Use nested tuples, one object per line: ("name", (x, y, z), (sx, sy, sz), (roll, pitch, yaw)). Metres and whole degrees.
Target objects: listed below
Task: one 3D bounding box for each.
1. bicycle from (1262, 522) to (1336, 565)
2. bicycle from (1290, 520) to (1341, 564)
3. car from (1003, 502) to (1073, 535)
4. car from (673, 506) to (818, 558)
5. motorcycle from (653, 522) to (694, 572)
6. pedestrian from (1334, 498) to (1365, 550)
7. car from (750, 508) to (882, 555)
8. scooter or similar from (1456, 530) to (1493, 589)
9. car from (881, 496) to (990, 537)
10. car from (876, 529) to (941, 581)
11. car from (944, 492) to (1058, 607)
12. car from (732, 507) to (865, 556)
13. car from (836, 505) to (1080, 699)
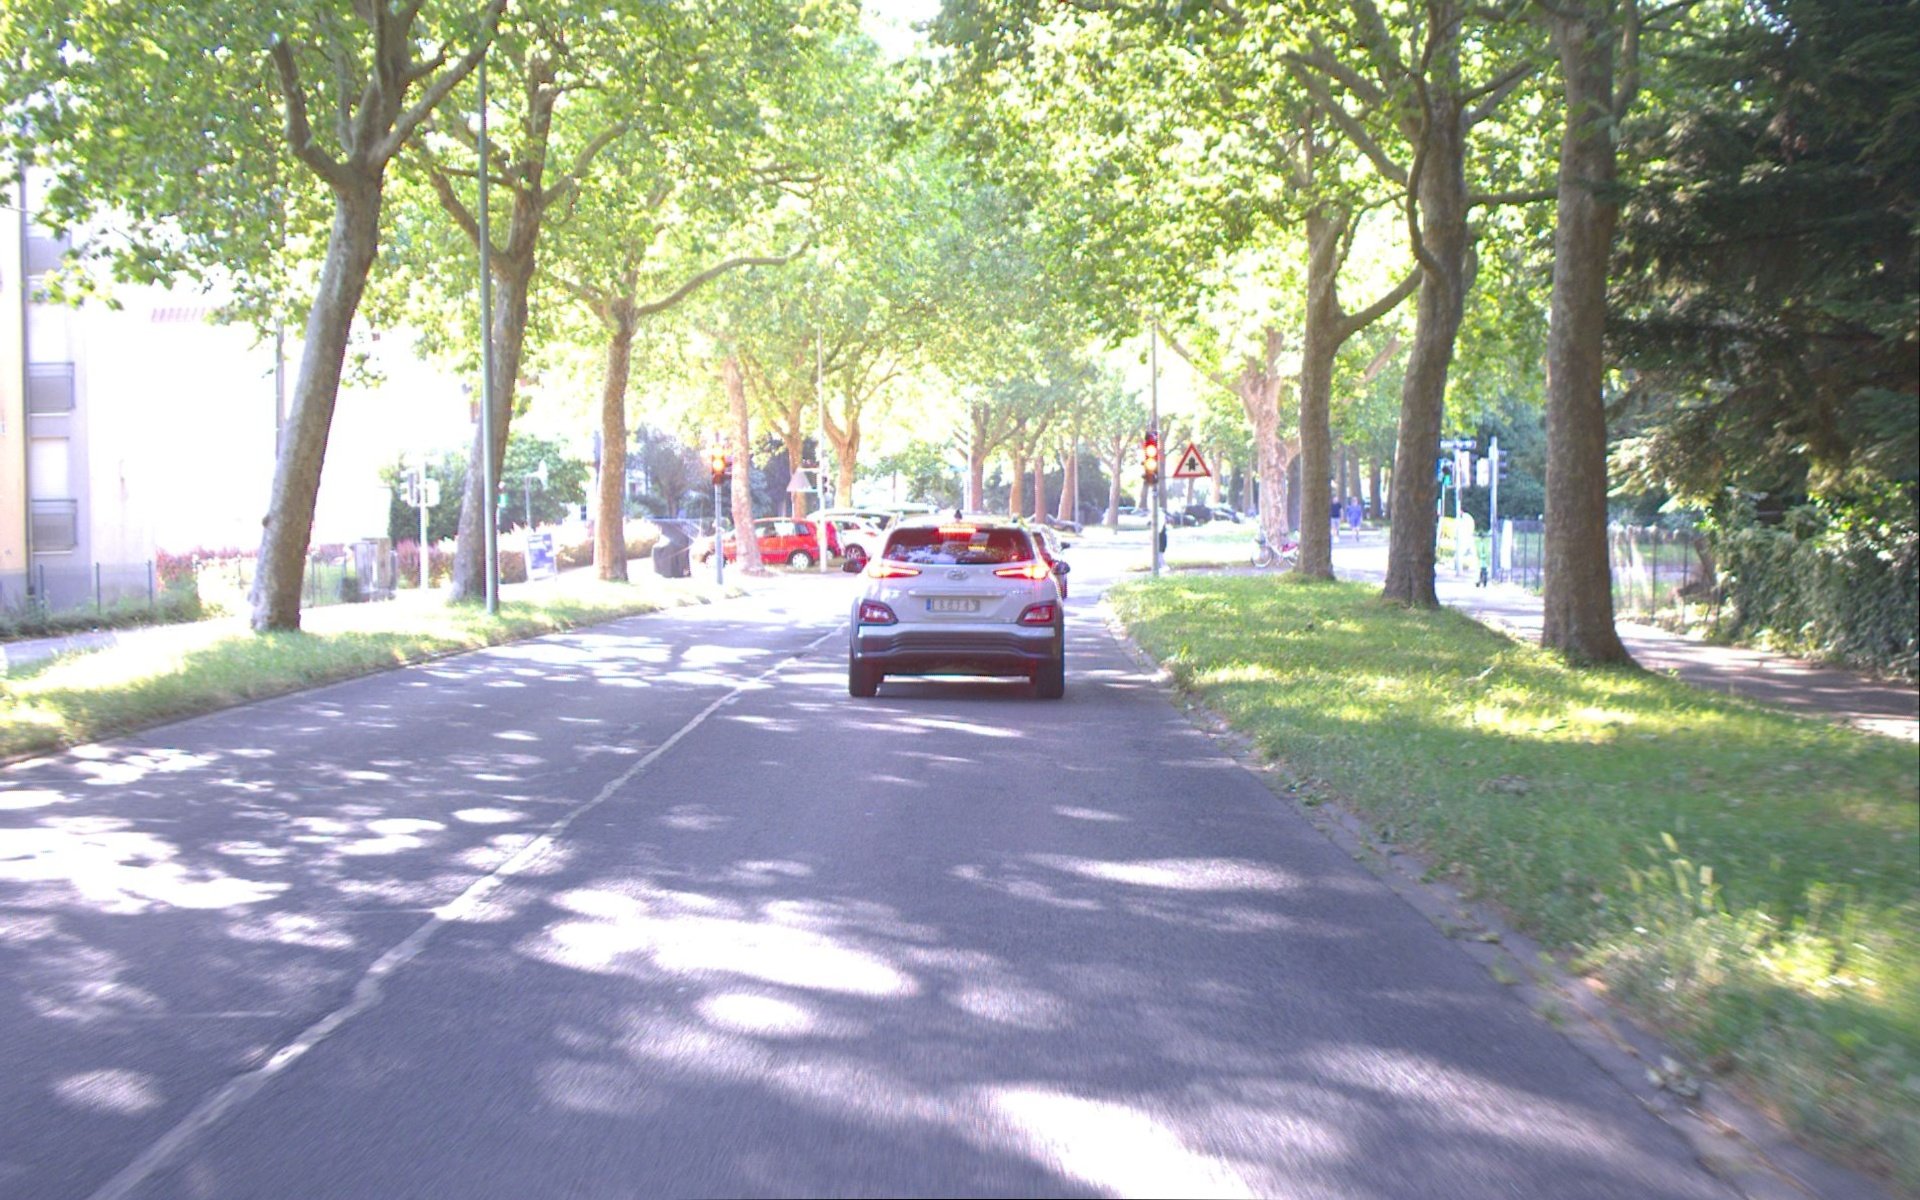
("bicycle", (9.141, -1.528, 92.715), (0.603, 1.160, 2.149), (0, 1, -41))
("bicycle", (9.700, -1.596, 93.952), (0.603, 1.179, 2.119), (0, 1, -17))
("car", (4.352, -4.518, 191.349), (3.668, 1.802, 1.749), (0, 1, -7))
("car", (-6.229, -1.970, 100.122), (3.987, 1.473, 2.000), (1, 1, 3))
("motorcycle", (-7.961, -1.480, 95.651), (0.846, 1.374, 2.776), (1, 1, 2))
("pedestrian", (15.386, -3.010, 135.860), (1.095, 2.006, 1.105), (2, 1, 9))
("car", (-4.602, -2.185, 110.055), (3.987, 1.473, 2.000), (1, 1, 5))
("scooter or similar", (11.179, -0.893, 74.716), (0.549, 1.254, 2.313), (1, 1, 3))
("car", (-0.903, -3.143, 129.563), (3.987, 1.473, 2.000), (1, 1, 3))
("car", (-1.513, -1.353, 102.393), (1.688, 1.432, 3.682), (1, 2, 3))
("car", (0.738, -0.968, 64.081), (1.993, 2.006, 4.000), (2, 2, 0))
("car", (-5.049, -2.134, 107.739), (3.987, 1.473, 2.000), (1, 1, 3))
("car", (0.035, -0.019, 30.247), (1.993, 1.569, 4.000), (1, 1, 2))
